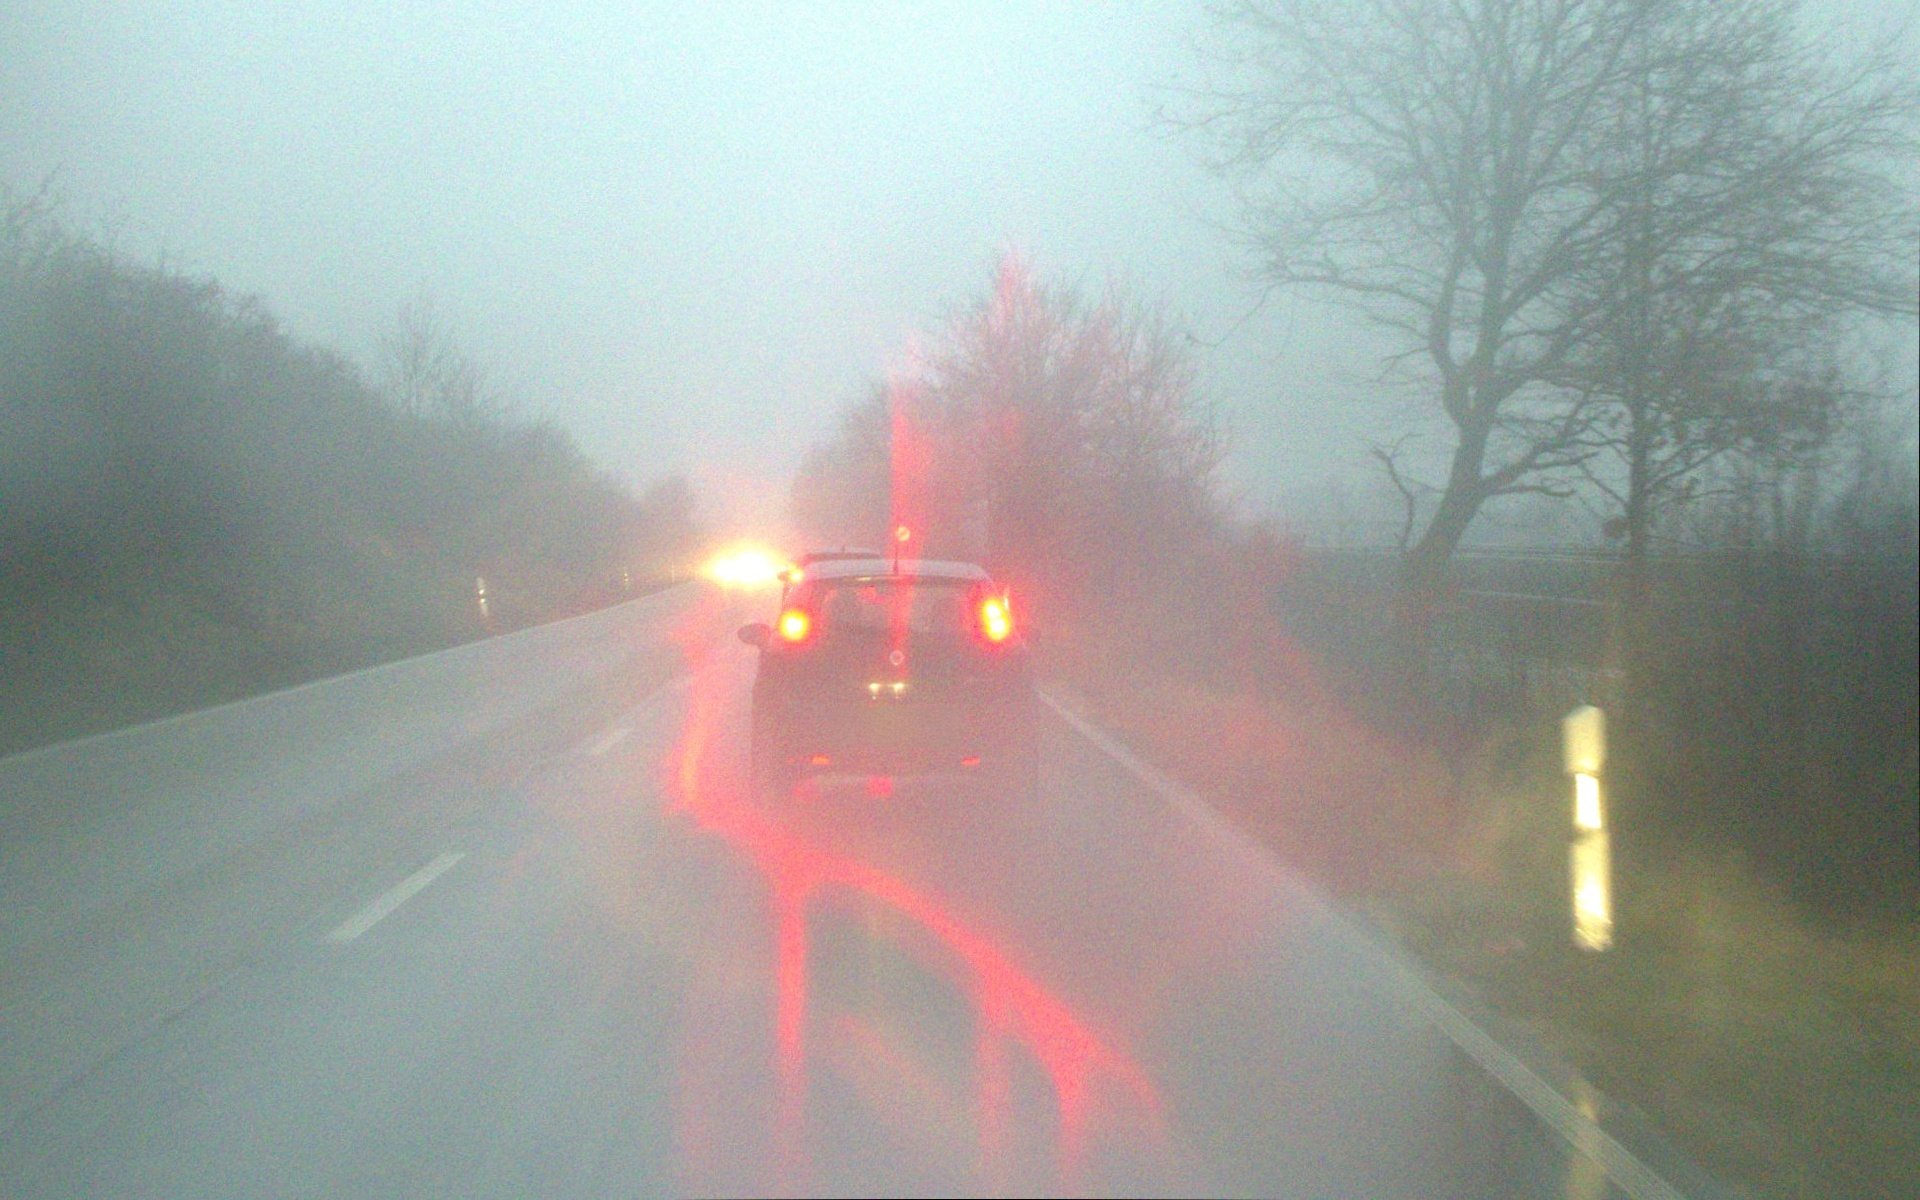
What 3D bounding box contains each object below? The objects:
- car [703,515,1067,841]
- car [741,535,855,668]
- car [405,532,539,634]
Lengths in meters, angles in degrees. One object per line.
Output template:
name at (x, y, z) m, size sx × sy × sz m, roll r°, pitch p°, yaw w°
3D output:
car at (-0.481, 0.417, 21.215) m, size 1.993 × 1.778 × 4.000 m, roll 1°, pitch 0°, yaw -2°
car at (-2.368, 0.001, 50.841) m, size 1.574 × 1.868 × 3.709 m, roll 1°, pitch 0°, yaw -2°
car at (-8.990, -0.320, 63.630) m, size 1.993 × 1.778 × 4.000 m, roll 1°, pitch 0°, yaw -2°
